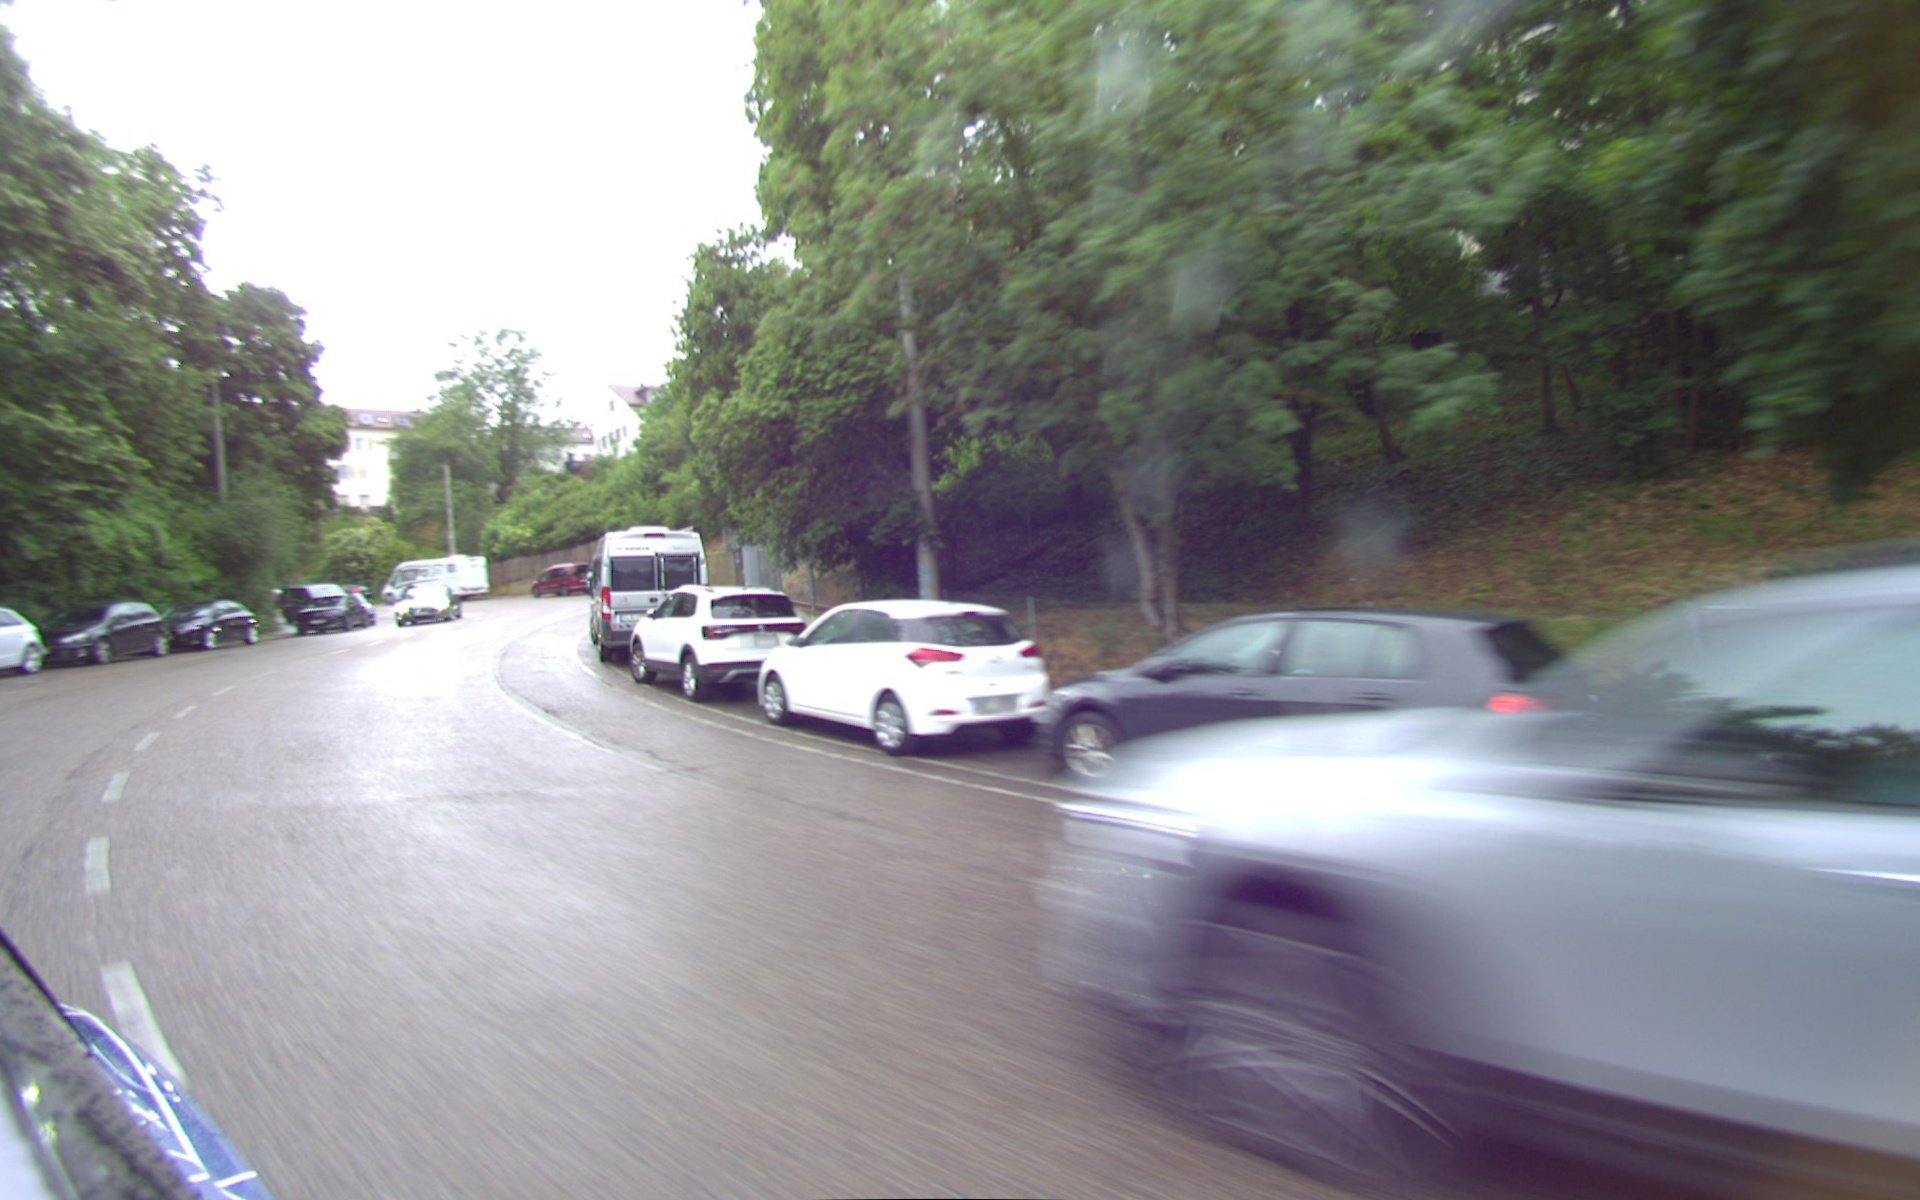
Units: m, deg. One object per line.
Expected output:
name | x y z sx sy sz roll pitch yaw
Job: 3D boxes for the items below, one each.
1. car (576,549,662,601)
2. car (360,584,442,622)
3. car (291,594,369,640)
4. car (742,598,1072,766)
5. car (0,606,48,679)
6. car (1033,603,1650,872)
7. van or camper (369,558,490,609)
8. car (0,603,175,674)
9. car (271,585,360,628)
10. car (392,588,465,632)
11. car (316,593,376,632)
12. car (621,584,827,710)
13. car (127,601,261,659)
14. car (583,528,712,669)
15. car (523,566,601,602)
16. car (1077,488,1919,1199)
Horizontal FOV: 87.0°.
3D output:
car | -18.875 -1.323 55.731 2.010 2.549 6.835 -7 4 -39
car | -29.075 0.165 52.610 4.522 1.682 1.976 -2 4 37
car | -25.036 0.637 40.337 1.605 1.499 3.756 -6 3 -17
car | -0.768 0.733 11.219 1.728 1.467 4.057 -1 1 -36
car | -19.362 0.883 19.034 1.731 1.411 4.109 -3 1 -19
car | 2.632 0.768 7.656 1.752 1.454 4.019 -1 0 -44
van or camper | -35.017 -1.082 66.766 7.465 2.988 2.445 -2 3 18
car | -20.731 0.847 24.154 1.638 1.434 3.979 -4 1 -14
car | -32.375 0.343 50.782 5.027 1.900 1.976 -1 5 37
car | -21.099 0.347 40.332 1.867 1.550 4.515 -3 1 -20
car | -27.938 0.534 45.981 1.877 1.498 4.887 -8 4 -35
car | -3.727 0.588 15.484 1.779 1.594 4.036 -1 2 -33
car | -22.437 0.830 29.820 1.569 1.399 3.831 -6 2 -12
car | -6.889 -0.183 21.778 2.044 2.568 6.369 -2 3 -22
car | -24.173 -0.936 61.454 4.810 1.889 1.977 -2 4 35
car | 2.597 0.642 2.385 4.300 1.682 1.801 -1 -2 36
